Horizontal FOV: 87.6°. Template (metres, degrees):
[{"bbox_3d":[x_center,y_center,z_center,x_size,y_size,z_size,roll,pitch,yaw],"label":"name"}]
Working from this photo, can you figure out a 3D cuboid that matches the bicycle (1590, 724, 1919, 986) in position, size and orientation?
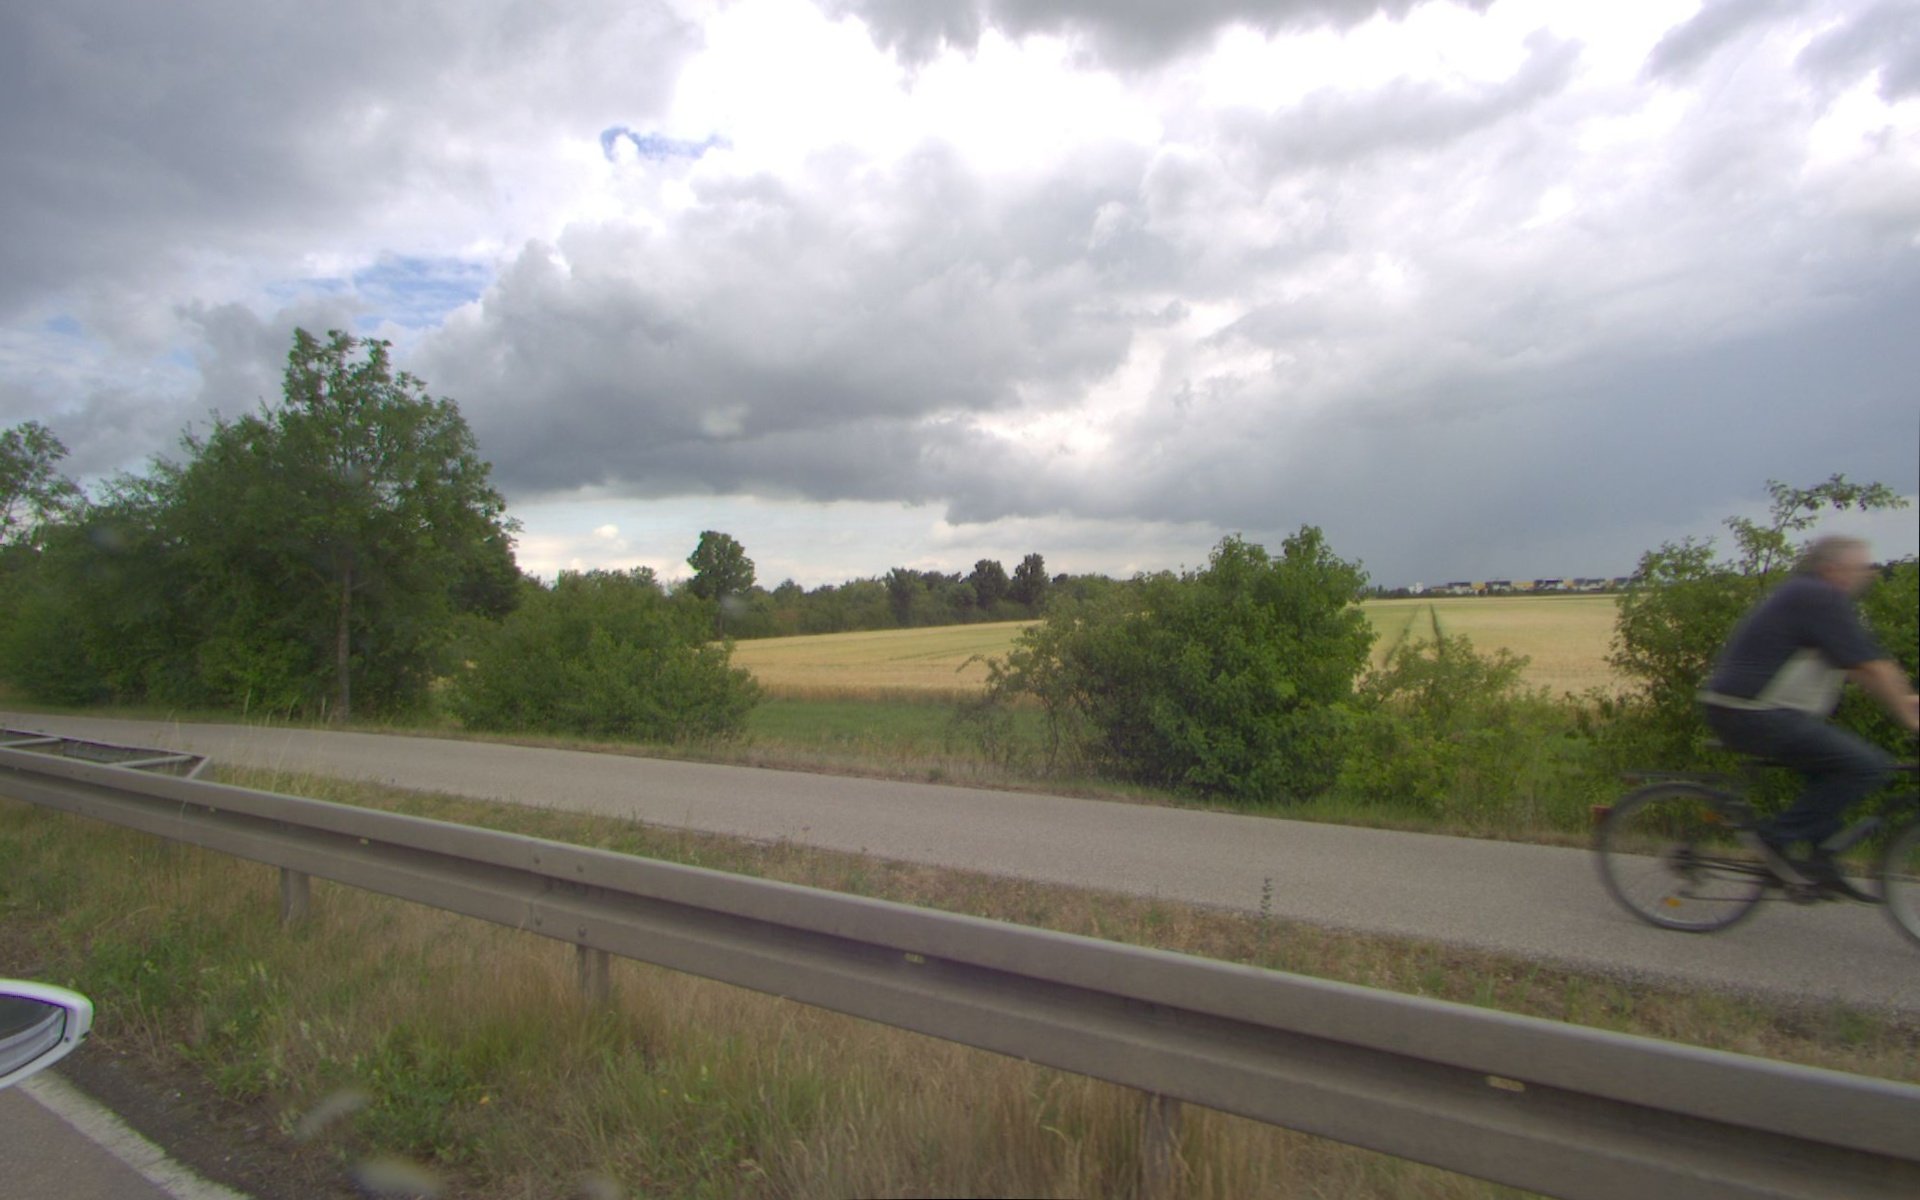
[{"bbox_3d":[3.855,1.090,4.416,1.804,0.932,0.664,-1,0,32],"label":"bicycle"}]

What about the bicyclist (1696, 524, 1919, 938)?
[{"bbox_3d":[3.825,0.532,4.428,0.854,1.667,0.645,-1,0,32],"label":"bicyclist"}]
